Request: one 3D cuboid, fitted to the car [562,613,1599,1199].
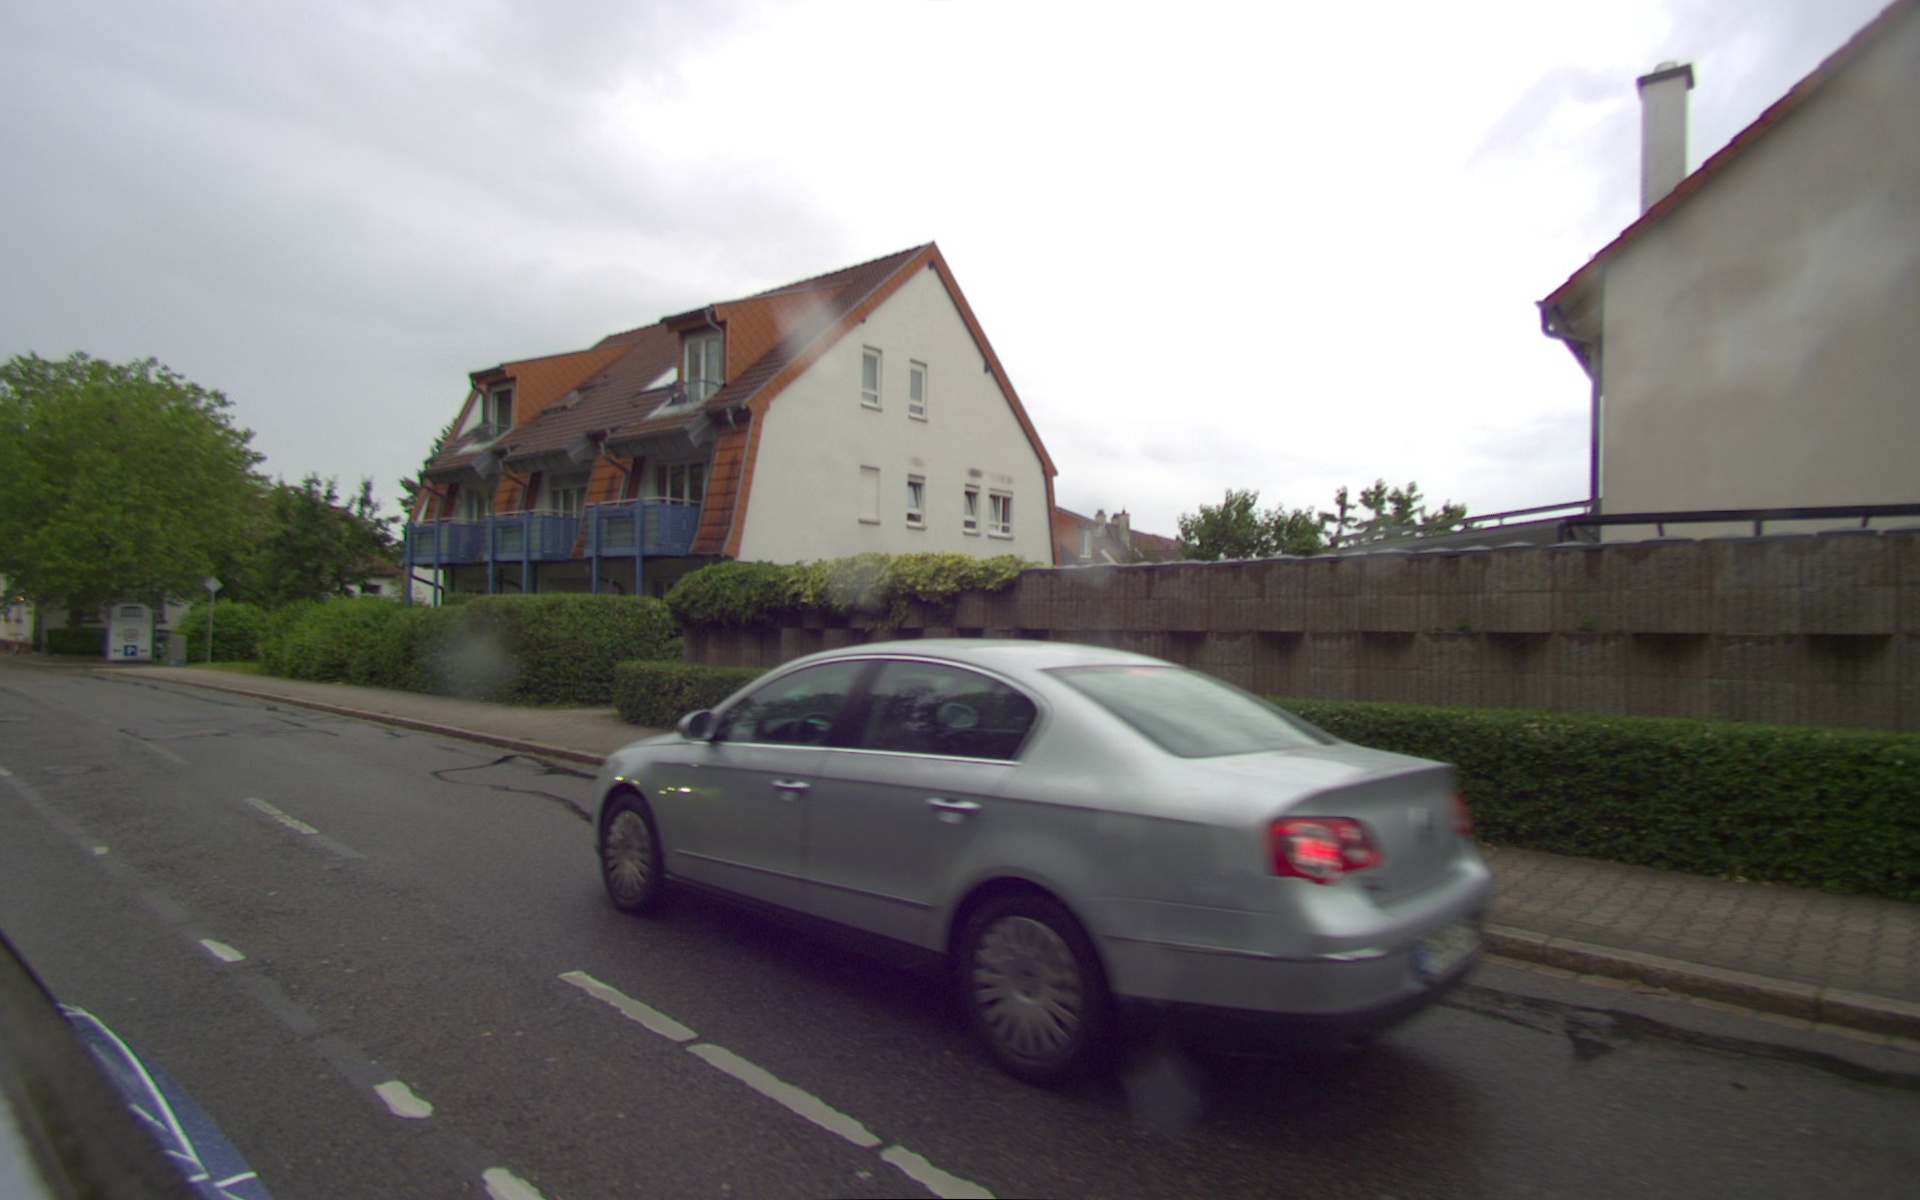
[{"bbox_3d":[0.126,0.845,4.690,4.487,1.431,1.971,-2,-4,44],"label":"car"}]

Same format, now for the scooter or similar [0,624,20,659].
[{"bbox_3d":[-49.586,2.175,52.821,1.508,1.788,0.397,0,-1,34],"label":"scooter or similar"}]
